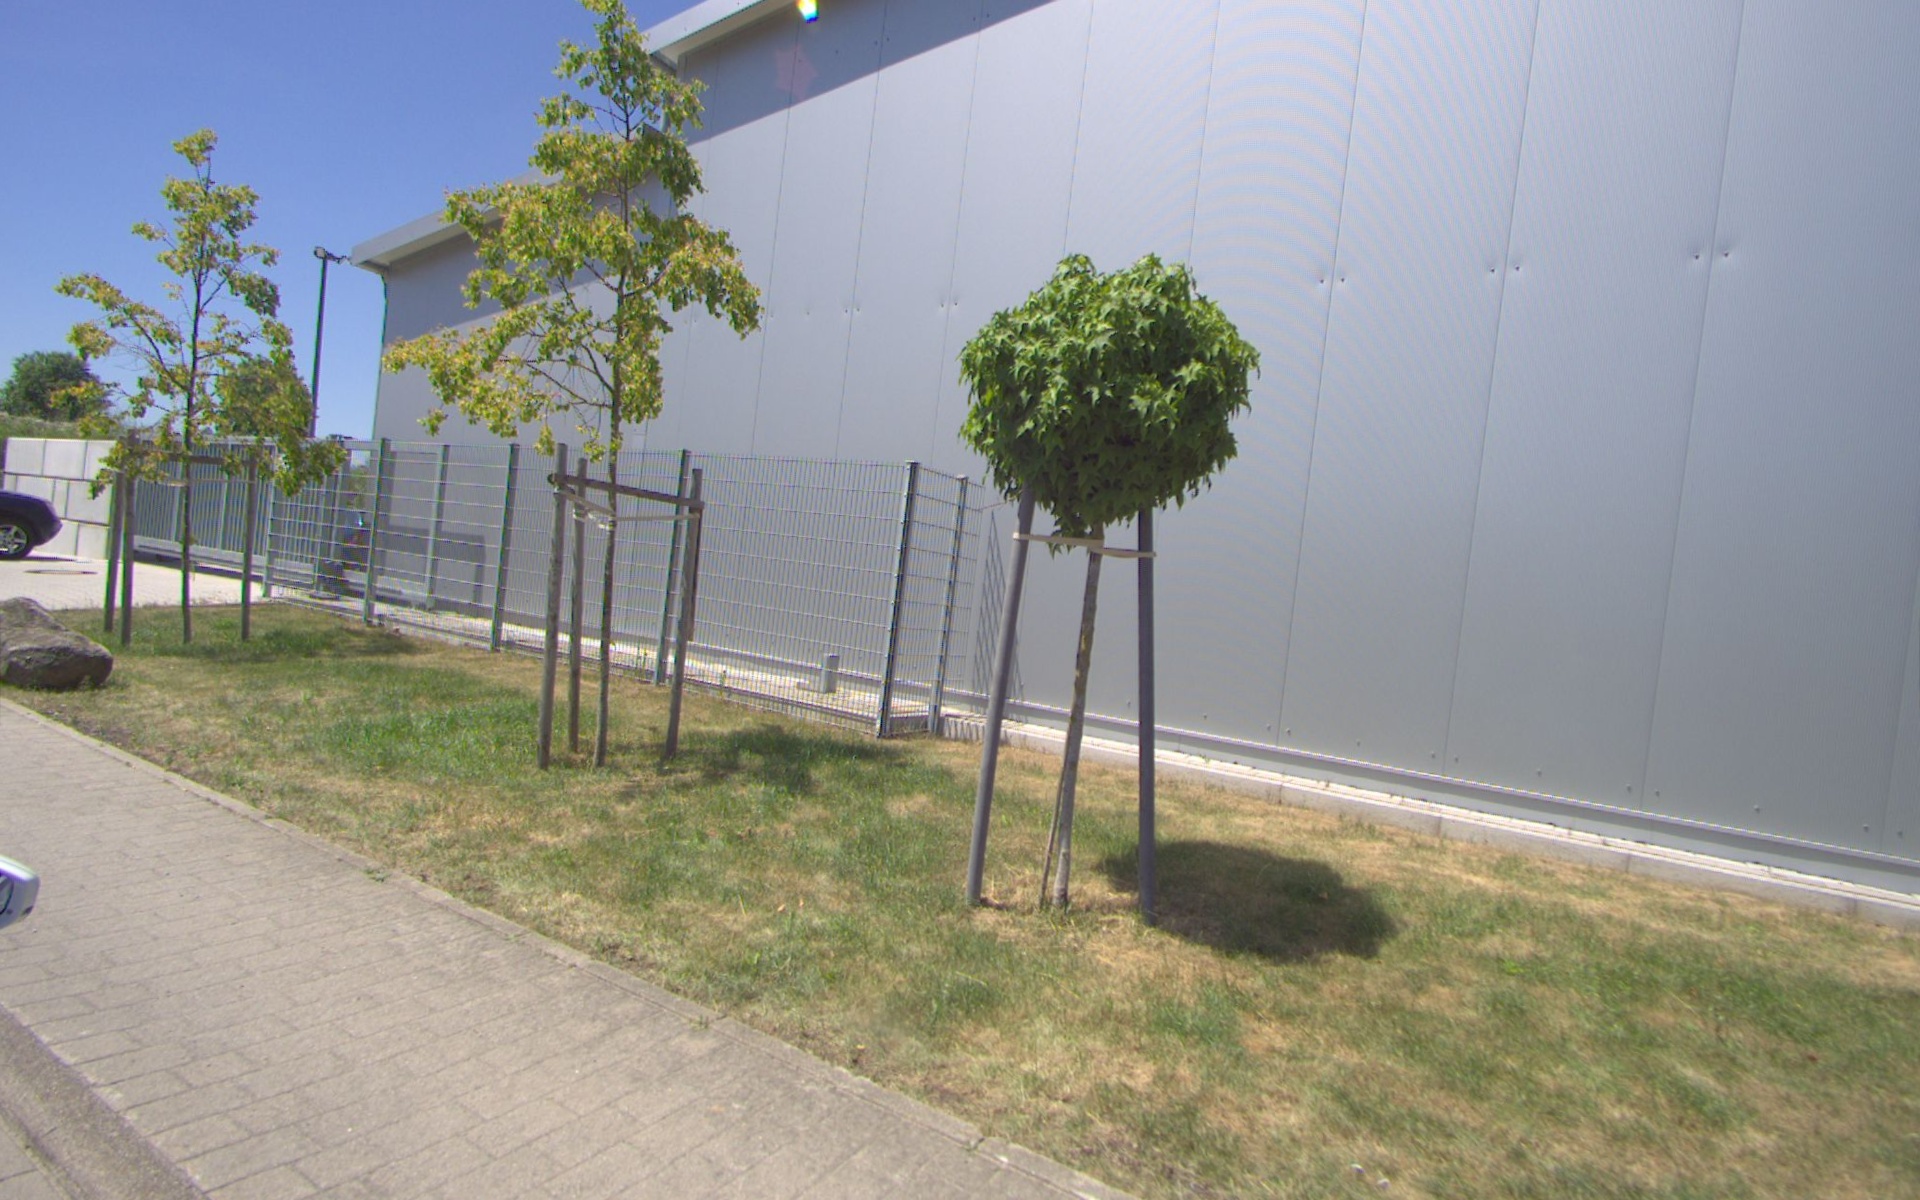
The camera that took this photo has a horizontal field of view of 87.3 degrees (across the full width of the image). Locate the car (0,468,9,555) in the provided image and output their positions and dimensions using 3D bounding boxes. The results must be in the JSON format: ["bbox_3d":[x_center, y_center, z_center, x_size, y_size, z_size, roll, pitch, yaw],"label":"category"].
[{"bbox_3d":[-18.292,-1.659,16.155,1.861,1.481,4.011,6,2,30],"label":"car"}]

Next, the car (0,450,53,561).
[{"bbox_3d":[-16.085,-1.511,14.600,1.827,1.679,4.007,6,4,31],"label":"car"}]
